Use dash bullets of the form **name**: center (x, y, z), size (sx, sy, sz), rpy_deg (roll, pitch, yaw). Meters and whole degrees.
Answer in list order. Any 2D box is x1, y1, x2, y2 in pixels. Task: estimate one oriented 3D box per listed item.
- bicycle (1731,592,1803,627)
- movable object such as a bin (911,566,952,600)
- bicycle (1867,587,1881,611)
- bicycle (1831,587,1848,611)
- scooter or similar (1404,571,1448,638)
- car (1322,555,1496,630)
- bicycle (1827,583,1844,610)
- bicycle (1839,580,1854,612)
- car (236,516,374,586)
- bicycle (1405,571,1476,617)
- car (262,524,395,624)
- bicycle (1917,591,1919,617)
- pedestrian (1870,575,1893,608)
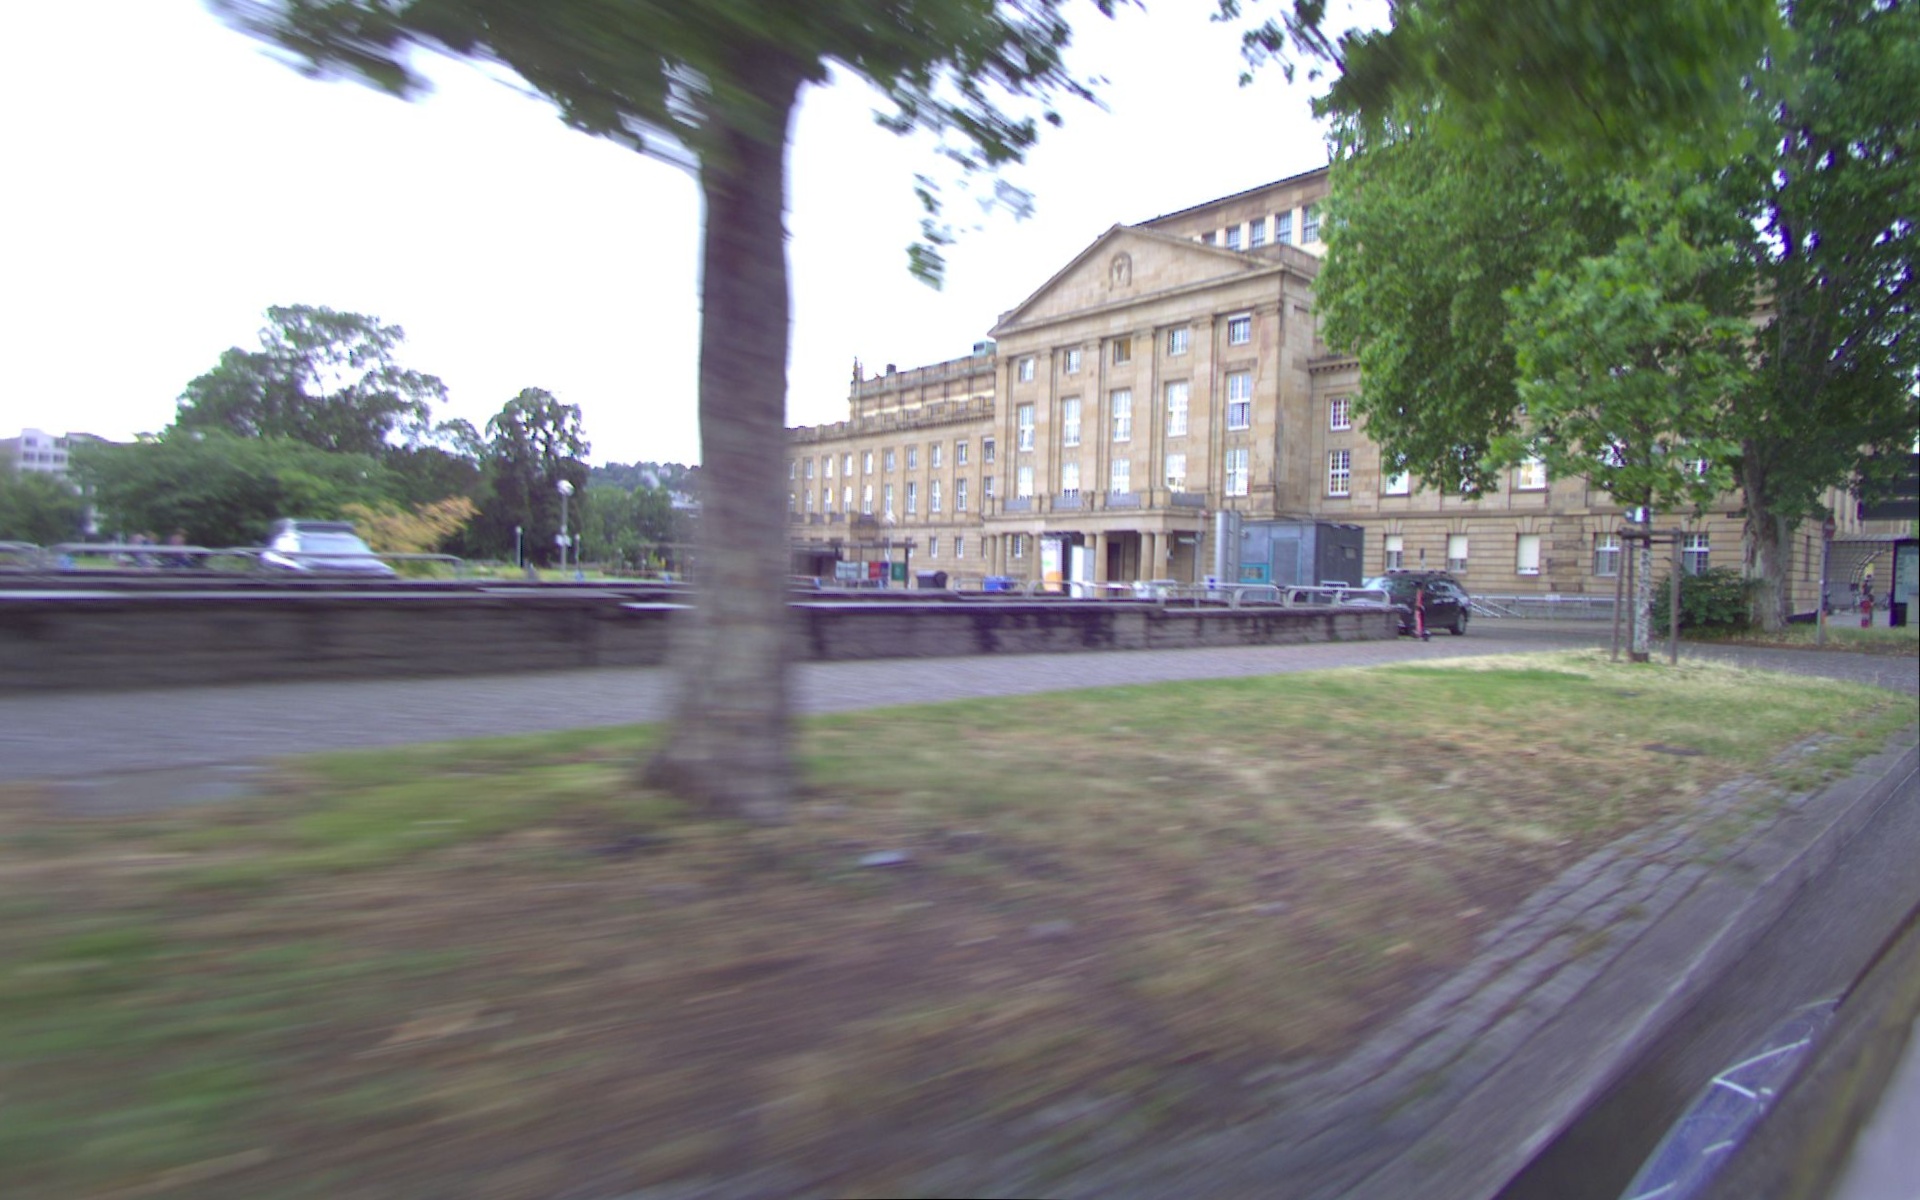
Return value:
- **bicycle**: center (24.769, 0.291, 31.081), size (0.564, 1.033, 1.645), rpy_deg (-1, 0, -37)
- **movable object such as a bin**: center (-1.326, -0.819, 47.285), size (1.227, 1.474, 1.494), rpy_deg (-1, 4, -39)
- **bicycle**: center (49.385, -0.065, 54.679), size (1.664, 1.230, 0.464), rpy_deg (-1, 2, -45)
- **bicycle**: center (41.015, -0.055, 47.188), size (1.759, 1.093, 0.352), rpy_deg (-2, 4, -43)
- **scooter or similar**: center (9.284, 0.061, 20.192), size (0.536, 1.270, 1.430), rpy_deg (2, 2, 16)
- **car**: center (10.917, -0.160, 24.410), size (5.148, 1.630, 1.996), rpy_deg (1, 1, -43)
- **bicycle**: center (41.486, -0.152, 47.960), size (1.573, 1.267, 0.454), rpy_deg (0, 0, -44)
- **bicycle**: center (44.209, -0.210, 50.448), size (1.573, 1.535, 0.454), rpy_deg (0, 0, -44)
- **car**: center (-18.609, -1.365, 28.648), size (2.420, 1.785, 5.012), rpy_deg (-1, 2, -44)
- **bicycle**: center (18.380, -0.249, 38.735), size (2.315, 1.687, 0.763), rpy_deg (2, 3, 43)
- **car**: center (-11.668, -0.542, 18.583), size (1.627, 1.619, 3.998), rpy_deg (0, 3, -39)
- **bicycle**: center (38.823, 0.179, 39.839), size (0.515, 1.007, 1.593), rpy_deg (0, 2, -40)
- **pedestrian**: center (51.514, -0.475, 56.572), size (0.631, 1.798, 0.796), rpy_deg (-1, 5, -42)
